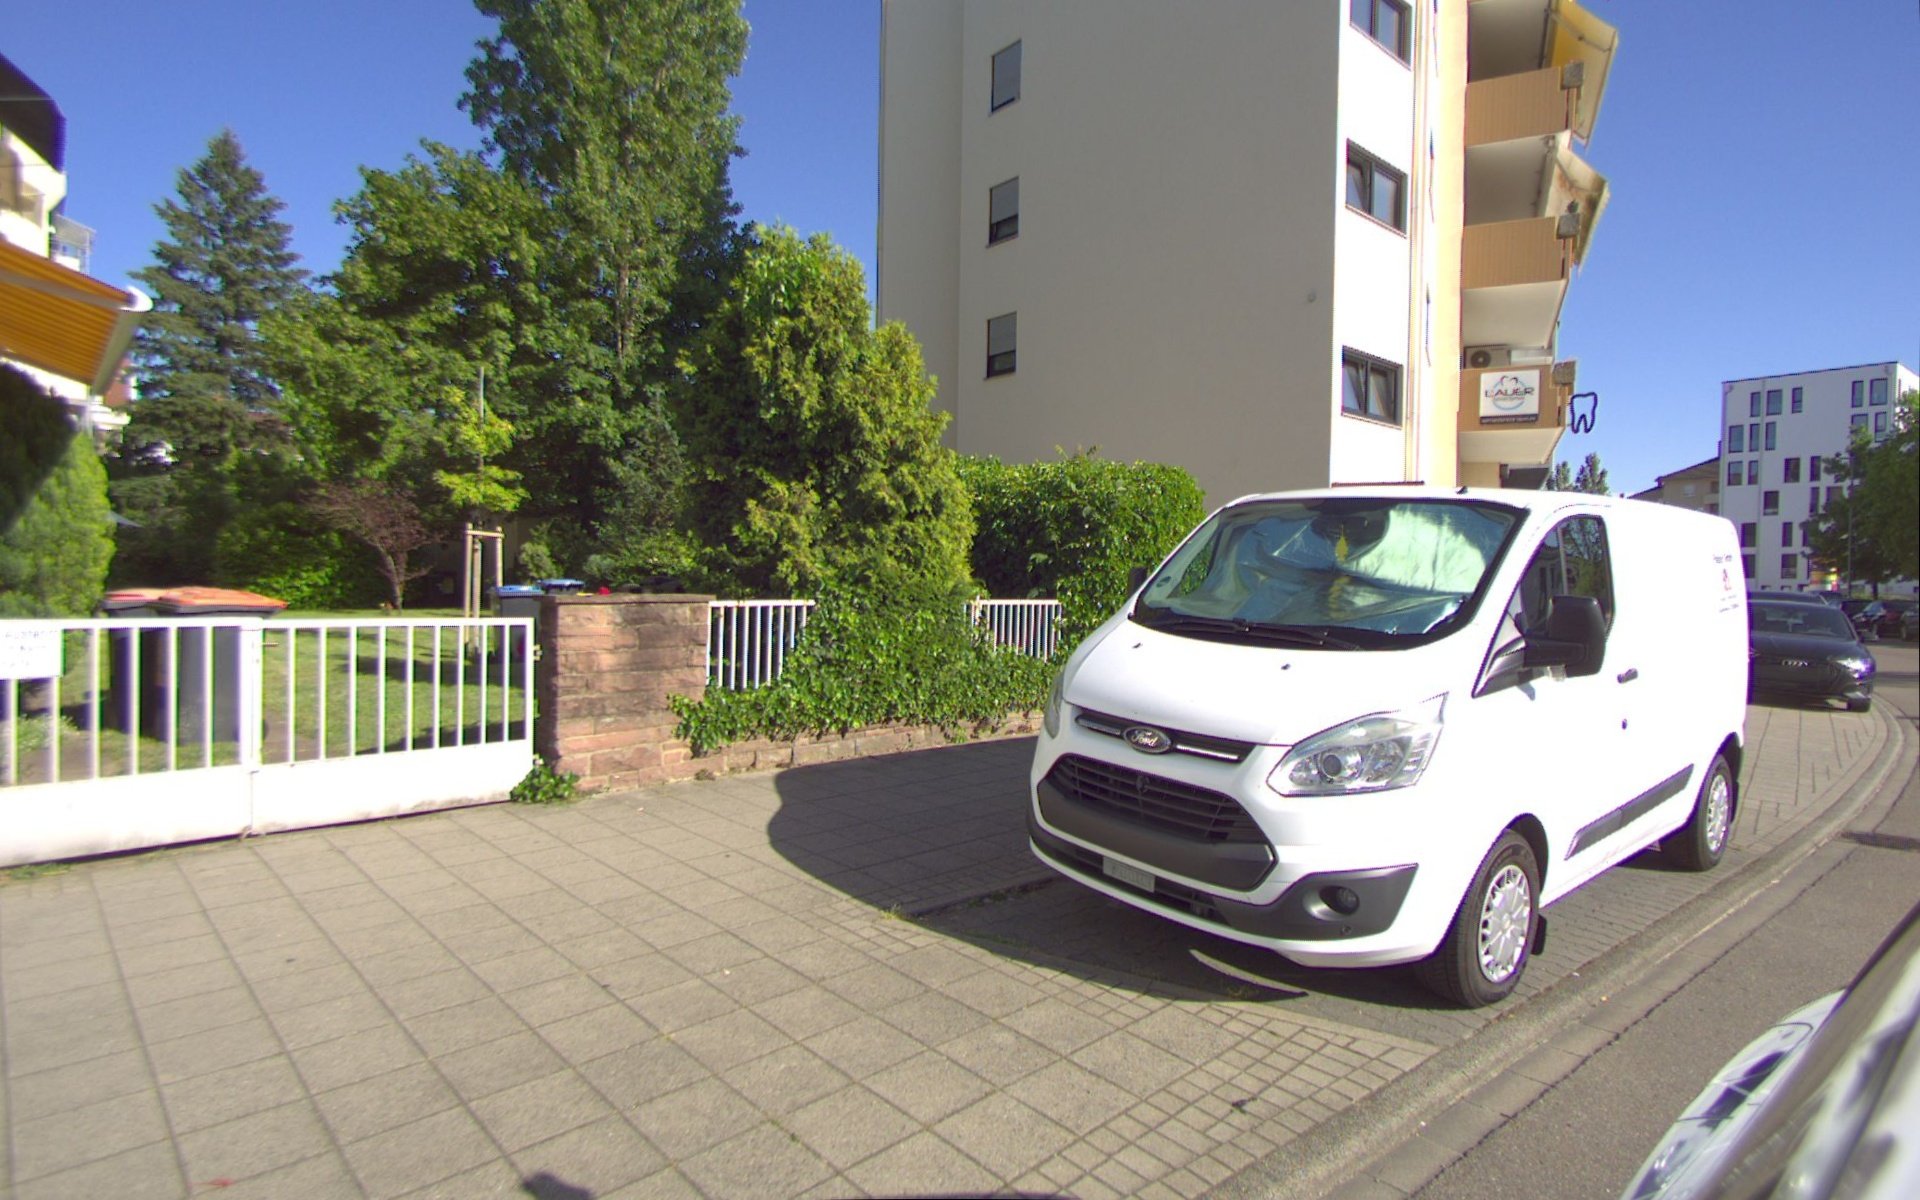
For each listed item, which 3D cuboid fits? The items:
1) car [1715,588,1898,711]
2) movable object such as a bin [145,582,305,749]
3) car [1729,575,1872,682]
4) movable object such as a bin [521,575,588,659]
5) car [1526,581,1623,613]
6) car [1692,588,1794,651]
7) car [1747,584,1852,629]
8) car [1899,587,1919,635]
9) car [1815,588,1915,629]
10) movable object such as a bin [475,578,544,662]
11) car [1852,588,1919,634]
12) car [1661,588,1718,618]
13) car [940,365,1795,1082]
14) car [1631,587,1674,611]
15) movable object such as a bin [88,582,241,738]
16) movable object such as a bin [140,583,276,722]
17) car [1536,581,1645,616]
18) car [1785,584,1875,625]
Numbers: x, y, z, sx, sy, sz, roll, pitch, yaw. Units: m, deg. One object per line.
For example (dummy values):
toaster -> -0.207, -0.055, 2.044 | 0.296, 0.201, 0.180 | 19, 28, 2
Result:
car -> 12.351, 0.613, 14.883 | 1.751, 1.411, 3.943 | 6, 4, 39
movable object such as a bin -> -5.327, 0.437, 7.352 | 0.567, 1.119, 0.795 | 2, 1, 33
car -> 15.418, 0.442, 18.678 | 1.751, 1.632, 3.944 | 6, 4, 39
movable object such as a bin -> -5.258, 0.208, 13.128 | 0.562, 1.036, 0.736 | 0, 2, -45
car -> 36.241, -0.191, 59.748 | 4.734, 1.758, 2.143 | -1, 0, -13
car -> 21.578, 0.472, 28.033 | 1.747, 1.471, 3.954 | 6, 4, 32
car -> 35.040, 0.236, 42.422 | 2.116, 1.758, 4.796 | 0, 0, 24
car -> 33.828, 0.387, 33.952 | 2.118, 1.634, 4.790 | 0, 0, 27
car -> 38.897, 0.329, 43.634 | 2.118, 1.634, 4.420 | 0, 0, 27
movable object such as a bin -> -5.636, 0.231, 12.665 | 0.562, 0.996, 0.736 | 0, 2, -45
car -> 36.312, 0.384, 38.730 | 2.118, 1.634, 4.790 | 0, 0, 27
car -> 44.907, 0.175, 62.433 | 2.119, 1.758, 4.790 | 0, 0, 27
car -> 2.386, 0.290, 5.159 | 4.713, 2.038, 1.999 | 0, 4, -41
car -> 52.109, -0.091, 76.233 | 2.119, 1.758, 4.789 | 0, 0, 27
movable object such as a bin -> -6.168, 0.429, 7.861 | 0.567, 1.119, 0.795 | 2, 1, 33
movable object such as a bin -> -6.467, 0.419, 8.721 | 0.567, 1.119, 0.795 | 2, 1, 33
car -> 33.166, -0.118, 53.275 | 4.734, 1.758, 2.143 | -1, 0, -13
car -> 41.168, 0.181, 48.037 | 2.118, 1.833, 4.790 | 0, 0, 27
